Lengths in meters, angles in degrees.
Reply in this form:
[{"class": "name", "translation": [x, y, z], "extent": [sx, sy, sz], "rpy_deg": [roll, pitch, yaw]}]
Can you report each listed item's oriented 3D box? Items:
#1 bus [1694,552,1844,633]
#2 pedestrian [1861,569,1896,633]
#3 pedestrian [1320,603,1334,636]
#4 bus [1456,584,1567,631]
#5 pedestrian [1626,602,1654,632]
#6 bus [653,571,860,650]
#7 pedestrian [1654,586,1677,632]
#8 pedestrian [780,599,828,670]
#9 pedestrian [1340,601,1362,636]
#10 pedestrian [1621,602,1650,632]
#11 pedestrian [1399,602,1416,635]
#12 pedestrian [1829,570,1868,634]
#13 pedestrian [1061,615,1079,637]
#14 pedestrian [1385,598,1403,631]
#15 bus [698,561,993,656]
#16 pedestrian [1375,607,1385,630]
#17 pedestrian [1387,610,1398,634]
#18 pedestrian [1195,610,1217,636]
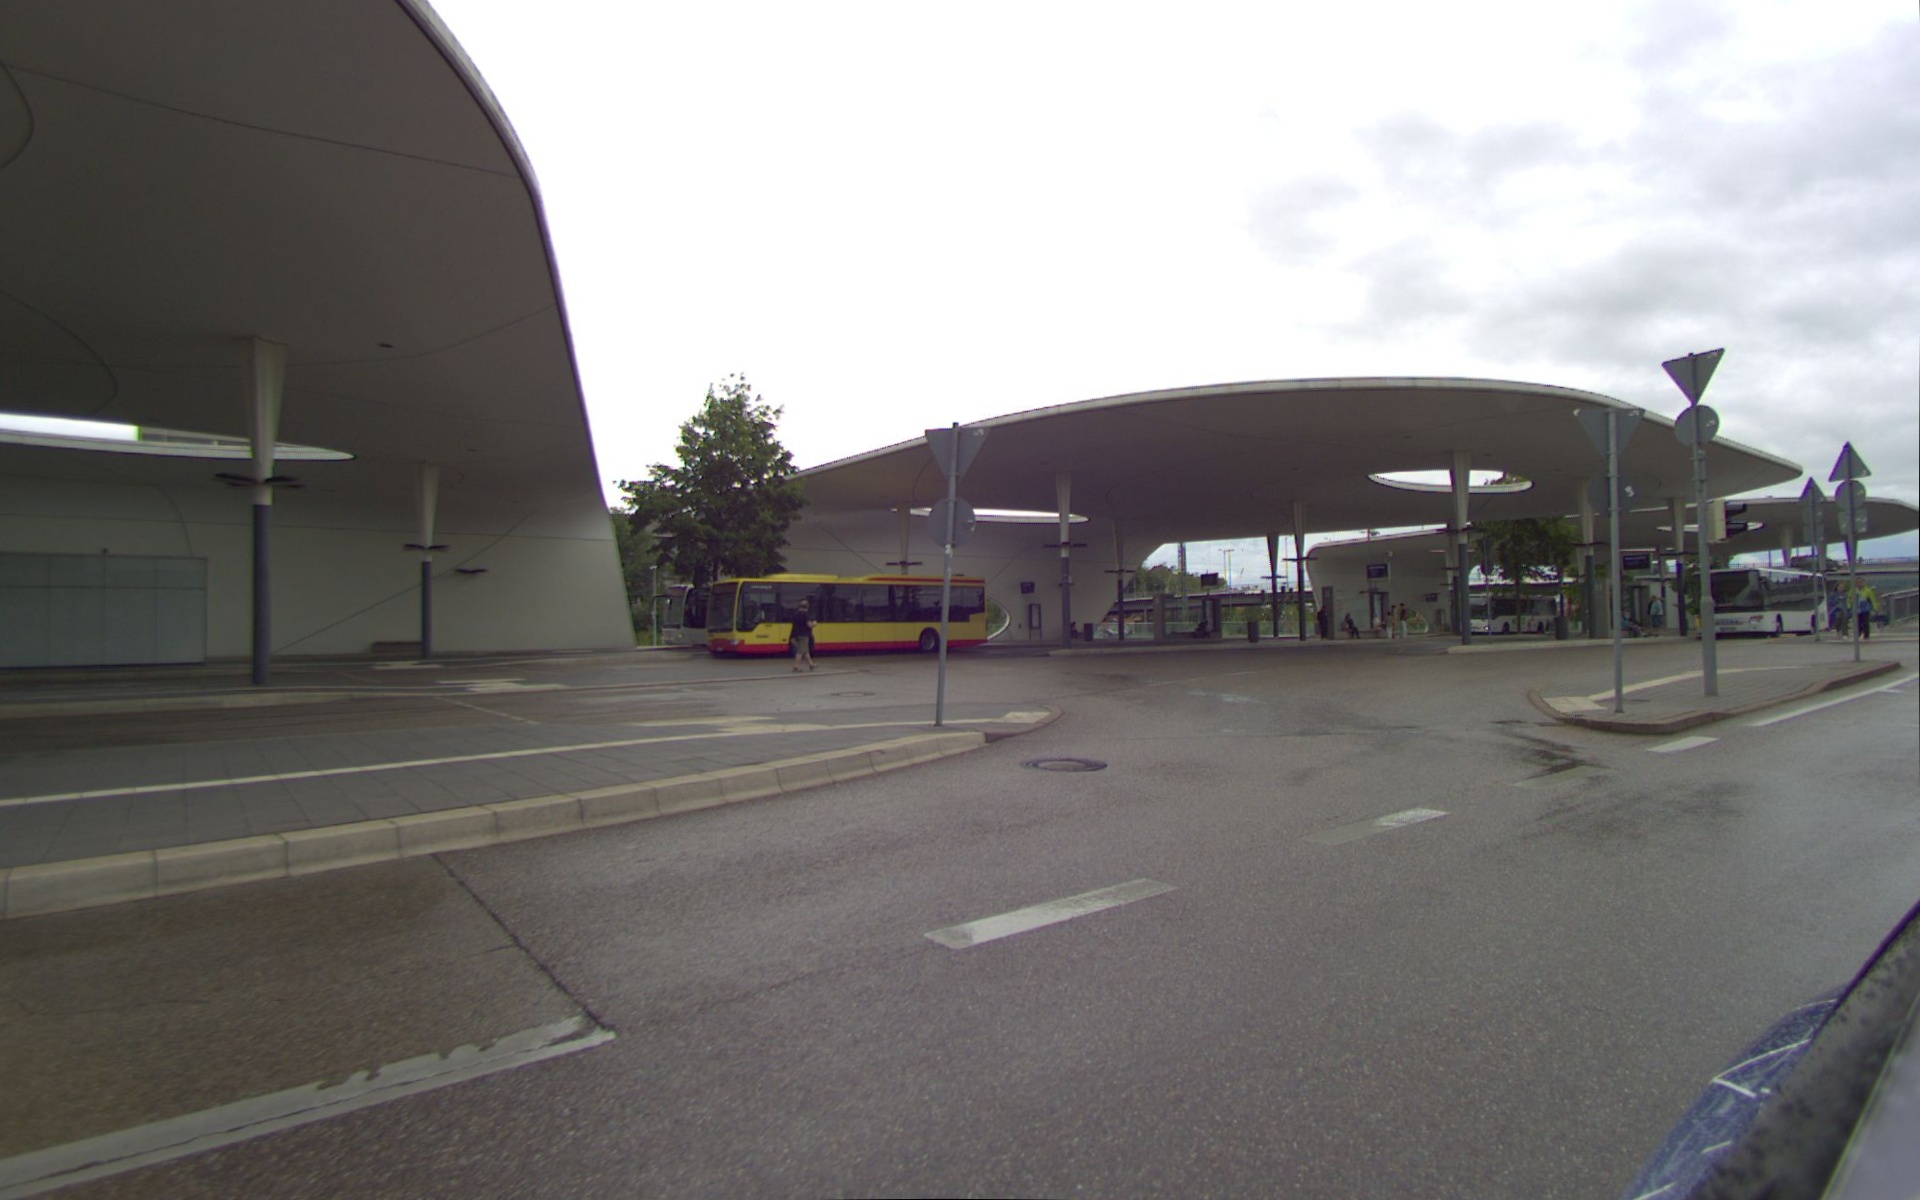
[{"class": "bus", "translation": [38.082, -0.347, 47.388], "extent": [12.200, 3.405, 2.851], "rpy_deg": [0, 0, -39]}, {"class": "pedestrian", "translation": [24.789, 0.031, 27.314], "extent": [0.570, 1.691, 0.523], "rpy_deg": [-3, -1, -38]}, {"class": "pedestrian", "translation": [17.322, 0.910, 47.770], "extent": [0.513, 1.521, 0.380], "rpy_deg": [-1, -1, 12]}, {"class": "bus", "translation": [41.618, 0.534, 76.121], "extent": [11.921, 3.299, 2.794], "rpy_deg": [-1, -1, -39]}, {"class": "pedestrian", "translation": [29.643, 0.756, 44.140], "extent": [0.944, 1.271, 0.642], "rpy_deg": [1, -1, 29]}, {"class": "bus", "translation": [-9.514, 0.451, 48.444], "extent": [9.681, 3.443, 2.519], "rpy_deg": [0, -1, -40]}, {"class": "pedestrian", "translation": [30.174, 0.385, 43.286], "extent": [0.635, 1.911, 0.587], "rpy_deg": [2, -1, -28]}, {"class": "pedestrian", "translation": [-3.827, 0.831, 24.902], "extent": [0.712, 1.705, 1.012], "rpy_deg": [0, 0, 26]}, {"class": "pedestrian", "translation": [18.845, 0.900, 48.767], "extent": [0.666, 1.610, 0.588], "rpy_deg": [-4, -3, -42]}, {"class": "pedestrian", "translation": [29.091, 0.740, 43.610], "extent": [0.944, 1.271, 0.642], "rpy_deg": [1, -1, 29]}, {"class": "pedestrian", "translation": [22.887, 0.944, 51.758], "extent": [0.633, 1.676, 0.637], "rpy_deg": [-1, -1, 12]}, {"class": "pedestrian", "translation": [24.400, 0.060, 27.792], "extent": [0.570, 1.691, 0.590], "rpy_deg": [-5, -1, -38]}, {"class": "pedestrian", "translation": [7.127, 1.671, 65.656], "extent": [0.786, 1.341, 0.711], "rpy_deg": [-4, -2, -35]}, {"class": "pedestrian", "translation": [21.995, 0.723, 51.282], "extent": [0.546, 1.676, 0.571], "rpy_deg": [0, -1, -32]}, {"class": "bus", "translation": [-4.092, 0.271, 39.729], "extent": [11.925, 3.299, 2.793], "rpy_deg": [-1, -1, -40]}, {"class": "pedestrian", "translation": [20.800, 0.913, 50.109], "extent": [0.345, 1.095, 0.392], "rpy_deg": [-1, -1, 3]}, {"class": "pedestrian", "translation": [21.300, 1.078, 49.814], "extent": [0.357, 1.160, 0.395], "rpy_deg": [-1, -1, 4]}, {"class": "pedestrian", "translation": [13.846, 1.305, 56.907], "extent": [0.786, 1.341, 0.712], "rpy_deg": [-4, -2, -30]}]
